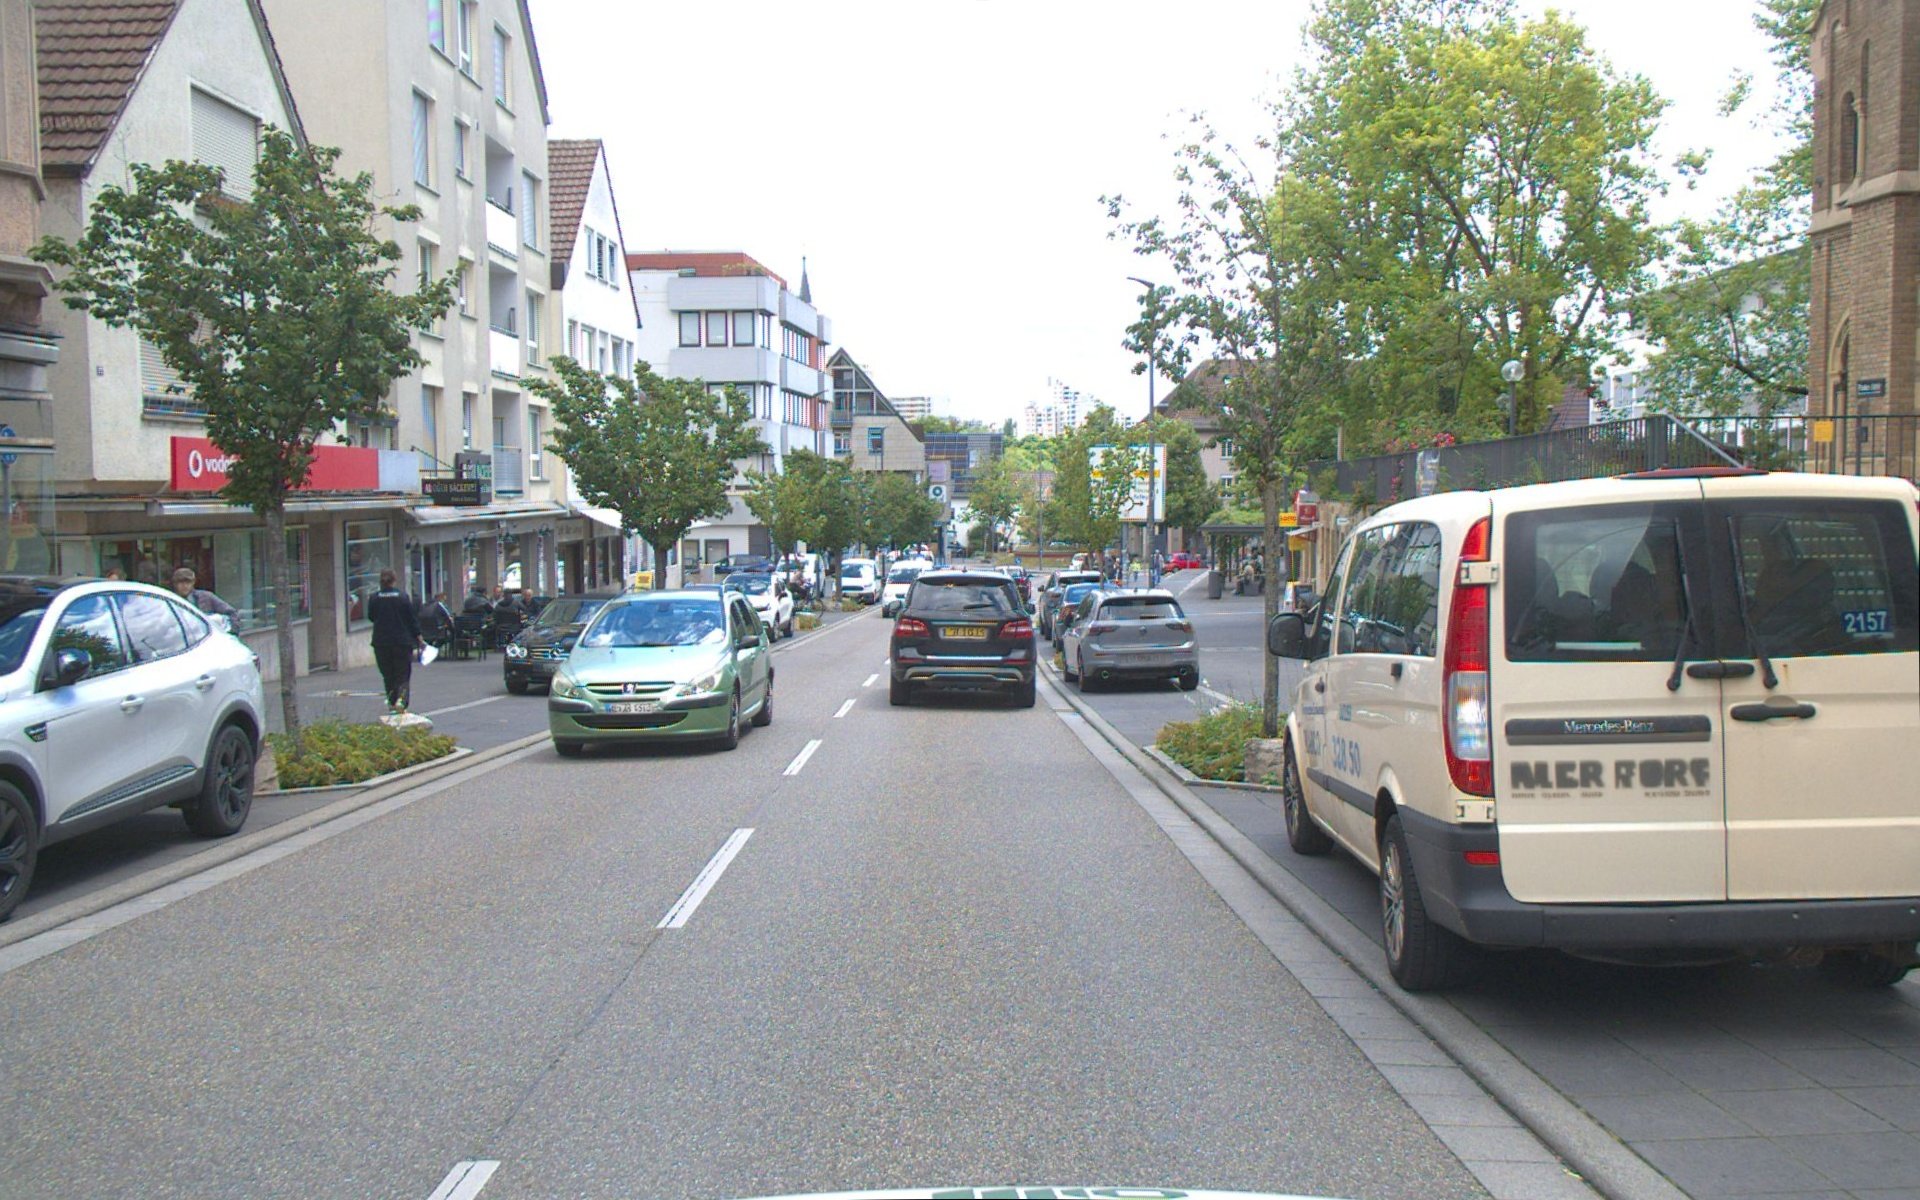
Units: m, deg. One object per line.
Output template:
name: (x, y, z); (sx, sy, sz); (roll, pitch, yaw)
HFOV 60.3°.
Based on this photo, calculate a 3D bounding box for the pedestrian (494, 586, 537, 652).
pedestrian: (-9.061, 0.381, 33.712); (0.673, 1.304, 0.676); (-1, 0, -1)

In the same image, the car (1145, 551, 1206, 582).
car: (14.904, -2.320, 114.403); (4.152, 2.065, 1.765); (-1, 0, -37)

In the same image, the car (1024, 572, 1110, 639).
car: (2.671, 0.098, 42.282); (1.898, 1.571, 4.707); (-1, 1, 0)

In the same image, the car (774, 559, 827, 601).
car: (-6.631, -0.847, 69.015); (1.888, 1.657, 4.413); (2, 1, -2)

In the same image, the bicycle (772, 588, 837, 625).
bicycle: (-4.947, 0.198, 52.680); (1.934, 1.076, 0.706); (-3, 0, -28)

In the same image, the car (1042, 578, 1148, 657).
car: (2.862, 0.329, 35.985); (1.898, 1.482, 4.707); (-3, 1, 0)

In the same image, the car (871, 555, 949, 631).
car: (-1.665, -0.254, 56.308); (2.128, 2.405, 4.625); (-3, 0, 4)

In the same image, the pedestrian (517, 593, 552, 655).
pedestrian: (-9.020, 0.499, 35.108); (0.553, 1.304, 0.758); (0, 0, -1)

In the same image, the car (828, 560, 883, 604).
car: (-4.136, -0.735, 66.070); (1.887, 1.657, 4.262); (2, 1, 0)

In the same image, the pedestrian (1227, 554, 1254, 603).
pedestrian: (12.994, -1.006, 76.657); (0.990, 2.188, 1.068); (-2, 0, 18)

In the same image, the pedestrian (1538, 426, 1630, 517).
pedestrian: (9.080, -1.858, 24.104); (0.970, 1.252, 0.984); (0, 0, 1)

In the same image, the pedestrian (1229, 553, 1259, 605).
pedestrian: (10.898, -0.801, 63.457); (1.027, 1.946, 0.937); (-3, 0, 7)

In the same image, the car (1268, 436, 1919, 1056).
car: (2.699, 0.412, 7.615); (1.897, 1.924, 4.709); (-2, 1, 4)

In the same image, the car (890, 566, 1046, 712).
car: (0.095, 0.448, 22.477); (1.904, 1.770, 4.179); (1, 1, 0)

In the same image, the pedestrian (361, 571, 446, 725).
pedestrian: (-6.264, 0.530, 18.646); (0.712, 1.696, 0.720); (0, 0, -1)

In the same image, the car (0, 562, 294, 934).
car: (-5.303, 0.637, 8.751); (1.888, 1.623, 4.456); (2, 1, -3)

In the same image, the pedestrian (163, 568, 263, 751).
pedestrian: (-7.062, 0.549, 15.656); (0.628, 1.696, 0.720); (0, 0, -1)

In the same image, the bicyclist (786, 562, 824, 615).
bicyclist: (-4.926, -0.357, 52.689); (0.951, 1.637, 0.724); (-3, 0, -27)

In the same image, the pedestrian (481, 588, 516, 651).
pedestrian: (-9.763, 0.405, 35.004); (0.553, 1.304, 0.758); (0, 0, -1)

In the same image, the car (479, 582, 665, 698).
car: (-5.794, 0.540, 25.202); (1.888, 1.522, 4.261); (2, 1, -2)

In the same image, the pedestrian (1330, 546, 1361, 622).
pedestrian: (8.364, -0.346, 35.897); (0.556, 1.614, 0.666); (-1, 0, 8)

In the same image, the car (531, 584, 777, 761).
car: (-2.934, 0.627, 16.662); (1.775, 1.534, 3.999); (-1, 0, -1)

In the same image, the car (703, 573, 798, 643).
car: (-5.225, 0.149, 41.767); (1.887, 1.657, 4.262); (0, 1, 0)

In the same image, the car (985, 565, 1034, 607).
car: (2.035, -0.608, 68.973); (1.887, 1.657, 4.262); (2, 1, 0)

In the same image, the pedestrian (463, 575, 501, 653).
pedestrian: (-9.722, 0.278, 33.680); (0.561, 1.561, 0.676); (-1, 0, -1)

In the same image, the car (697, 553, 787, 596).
car: (-10.060, -1.180, 76.595); (3.909, 1.780, 1.998); (-3, 0, -4)

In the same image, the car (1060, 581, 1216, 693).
car: (2.630, 0.495, 25.493); (1.898, 1.482, 4.707); (-1, 1, 0)

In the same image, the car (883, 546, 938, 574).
car: (-3.843, -3.097, 128.431); (3.997, 2.049, 1.996); (1, 0, -10)
